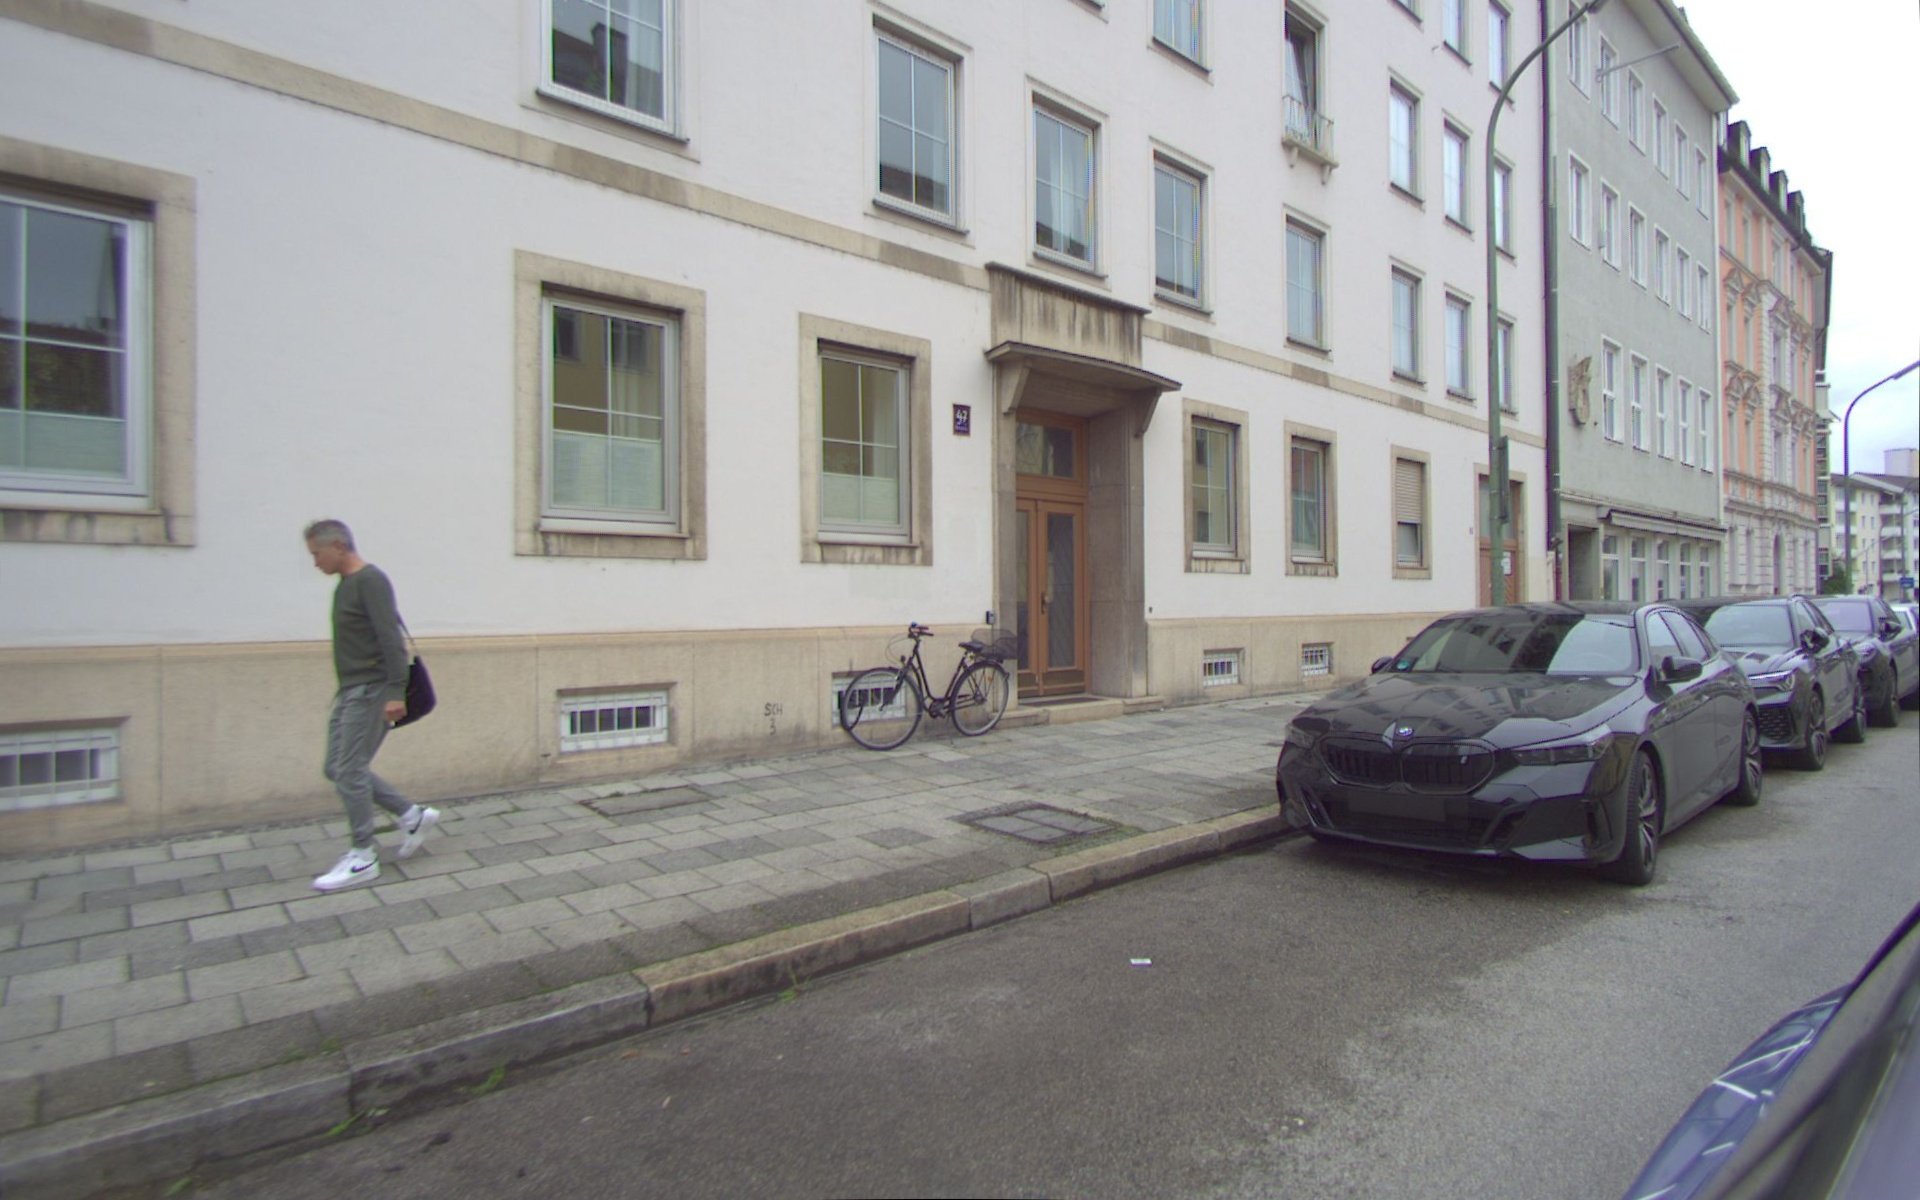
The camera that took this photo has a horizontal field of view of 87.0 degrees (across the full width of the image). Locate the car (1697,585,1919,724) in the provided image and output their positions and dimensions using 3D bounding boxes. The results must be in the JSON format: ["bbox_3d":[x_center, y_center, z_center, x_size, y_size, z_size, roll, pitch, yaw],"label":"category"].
[{"bbox_3d":[11.622,0.610,13.483,4.626,1.541,1.842,-1,-1,-40],"label":"car"}]

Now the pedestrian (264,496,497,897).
[{"bbox_3d":[-2.884,0.406,5.045,0.889,1.784,0.724,-1,3,-41],"label":"pedestrian"}]

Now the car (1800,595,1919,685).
[{"bbox_3d":[16.844,0.660,18.434,4.452,1.447,1.674,-1,-2,-42],"label":"car"}]

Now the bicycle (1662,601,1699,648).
[{"bbox_3d":[18.560,0.621,26.062,1.916,1.172,0.384,0,-1,-43],"label":"bicycle"}]

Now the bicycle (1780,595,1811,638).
[{"bbox_3d":[27.617,0.528,33.442,0.596,1.402,2.058,0,0,45],"label":"bicycle"}]

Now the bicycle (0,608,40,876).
[{"bbox_3d":[-5.373,0.681,4.357,2.066,1.232,0.531,-1,3,-41],"label":"bicycle"}]

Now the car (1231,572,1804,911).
[{"bbox_3d":[4.128,0.651,6.943,5.229,1.504,1.804,-1,-3,-43],"label":"car"}]

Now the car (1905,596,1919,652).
[{"bbox_3d":[26.410,0.579,26.692,4.287,1.420,1.690,-1,-1,-40],"label":"car"}]

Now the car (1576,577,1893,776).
[{"bbox_3d":[8.032,0.636,10.323,4.554,1.610,1.647,-1,-3,-42],"label":"car"}]

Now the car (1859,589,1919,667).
[{"bbox_3d":[21.357,0.589,22.524,4.290,1.613,1.706,0,-2,-45],"label":"car"}]

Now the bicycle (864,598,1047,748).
[{"bbox_3d":[0.011,0.602,9.255,0.512,1.238,1.959,-1,0,41],"label":"bicycle"}]
